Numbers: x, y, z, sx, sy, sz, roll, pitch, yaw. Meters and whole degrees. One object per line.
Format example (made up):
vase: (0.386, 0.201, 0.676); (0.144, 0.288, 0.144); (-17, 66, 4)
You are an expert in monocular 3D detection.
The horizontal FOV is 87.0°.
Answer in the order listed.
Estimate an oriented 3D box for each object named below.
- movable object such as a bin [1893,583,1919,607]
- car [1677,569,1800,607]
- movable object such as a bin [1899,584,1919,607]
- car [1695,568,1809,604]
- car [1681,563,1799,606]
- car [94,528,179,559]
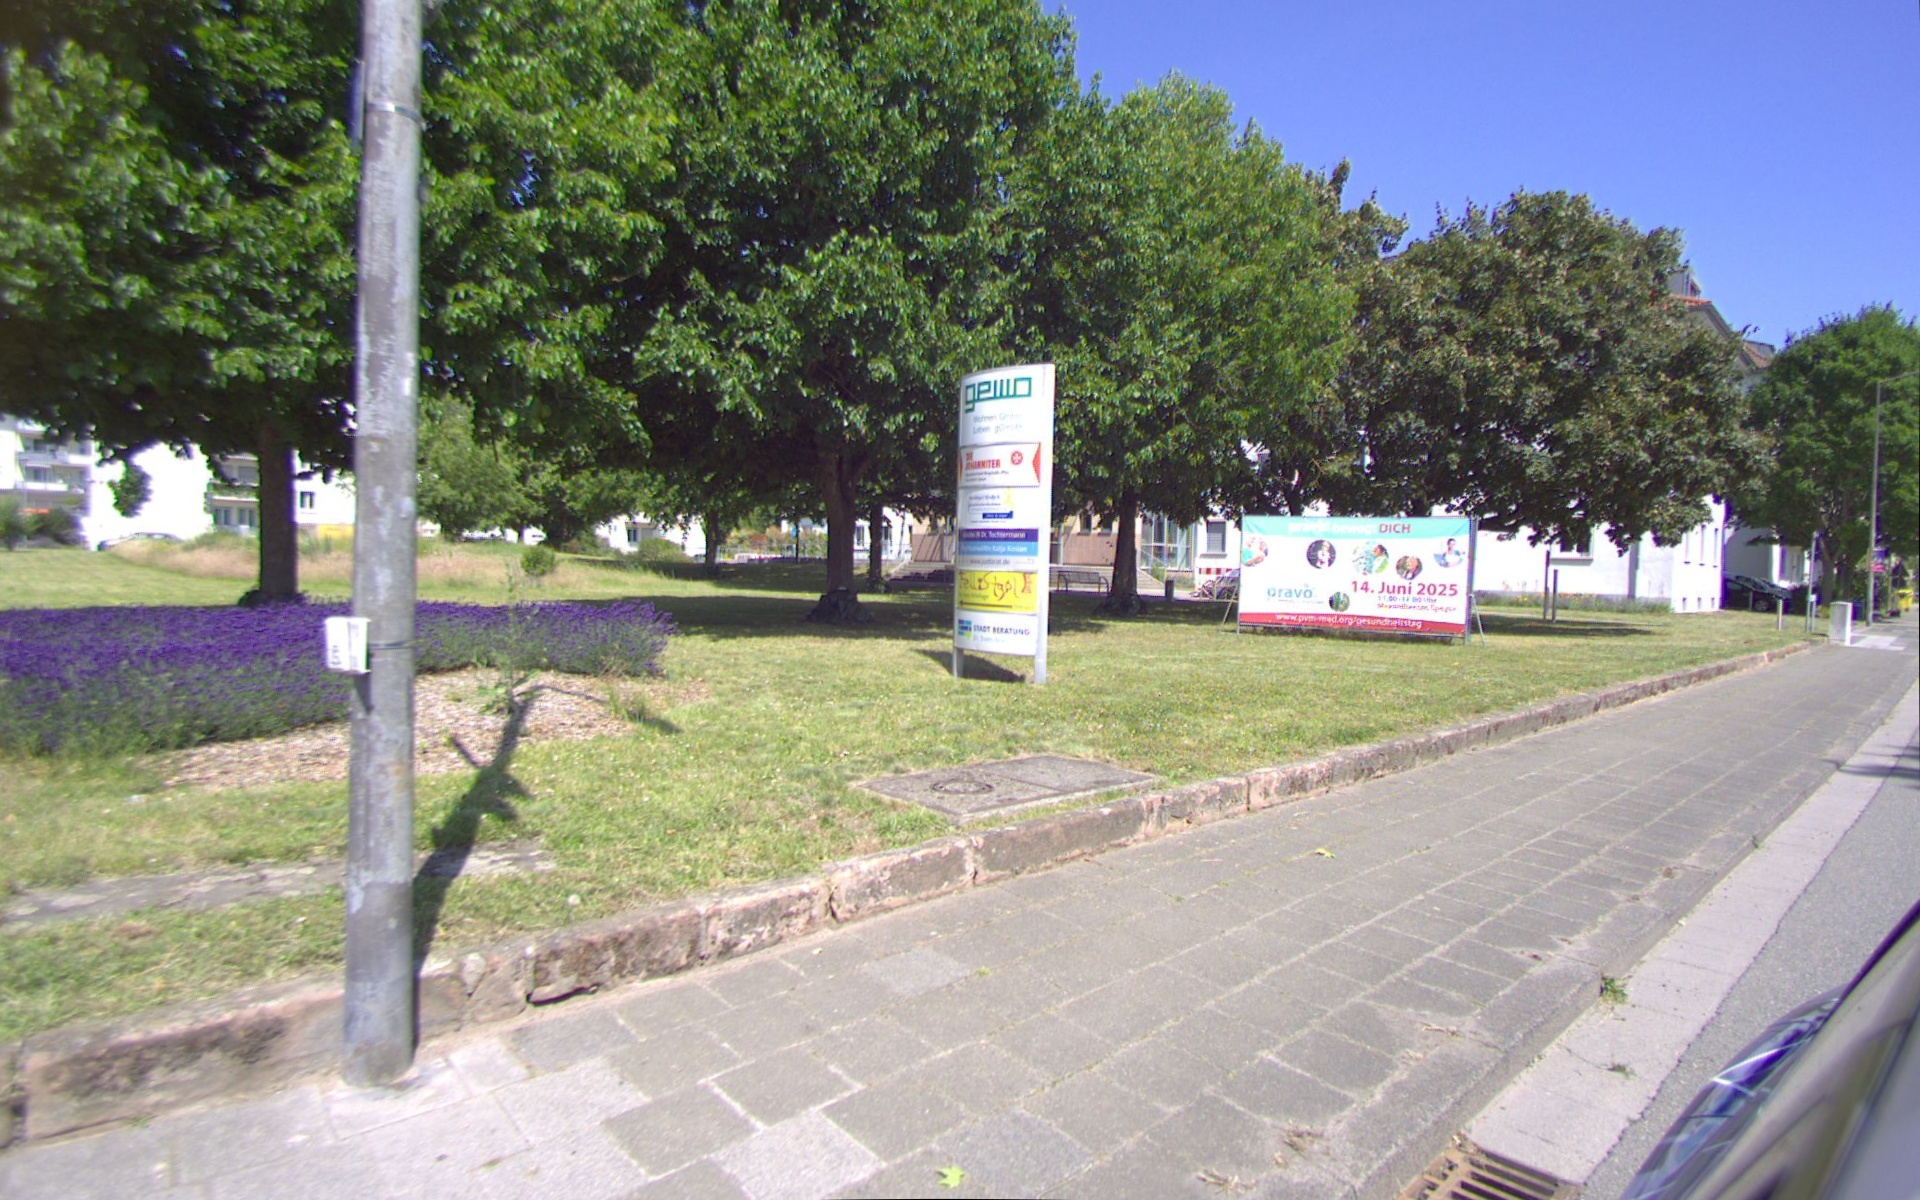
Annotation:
movable object such as a bin: (63.074, -0.326, 67.251); (1.496, 1.499, 1.400); (4, 3, 44)
car: (36.583, -0.582, 47.606); (4.357, 1.452, 1.969); (6, 4, 43)
movable object such as a bin: (64.432, -0.319, 68.291); (1.496, 1.499, 1.400); (4, 3, 44)
car: (40.632, -0.749, 51.976); (4.357, 1.544, 1.969); (6, 4, 43)
car: (38.298, -0.806, 49.766); (4.357, 1.808, 1.969); (6, 4, 43)
car: (-47.795, -3.249, 58.774); (3.769, 1.649, 1.507); (-1, 1, -43)
